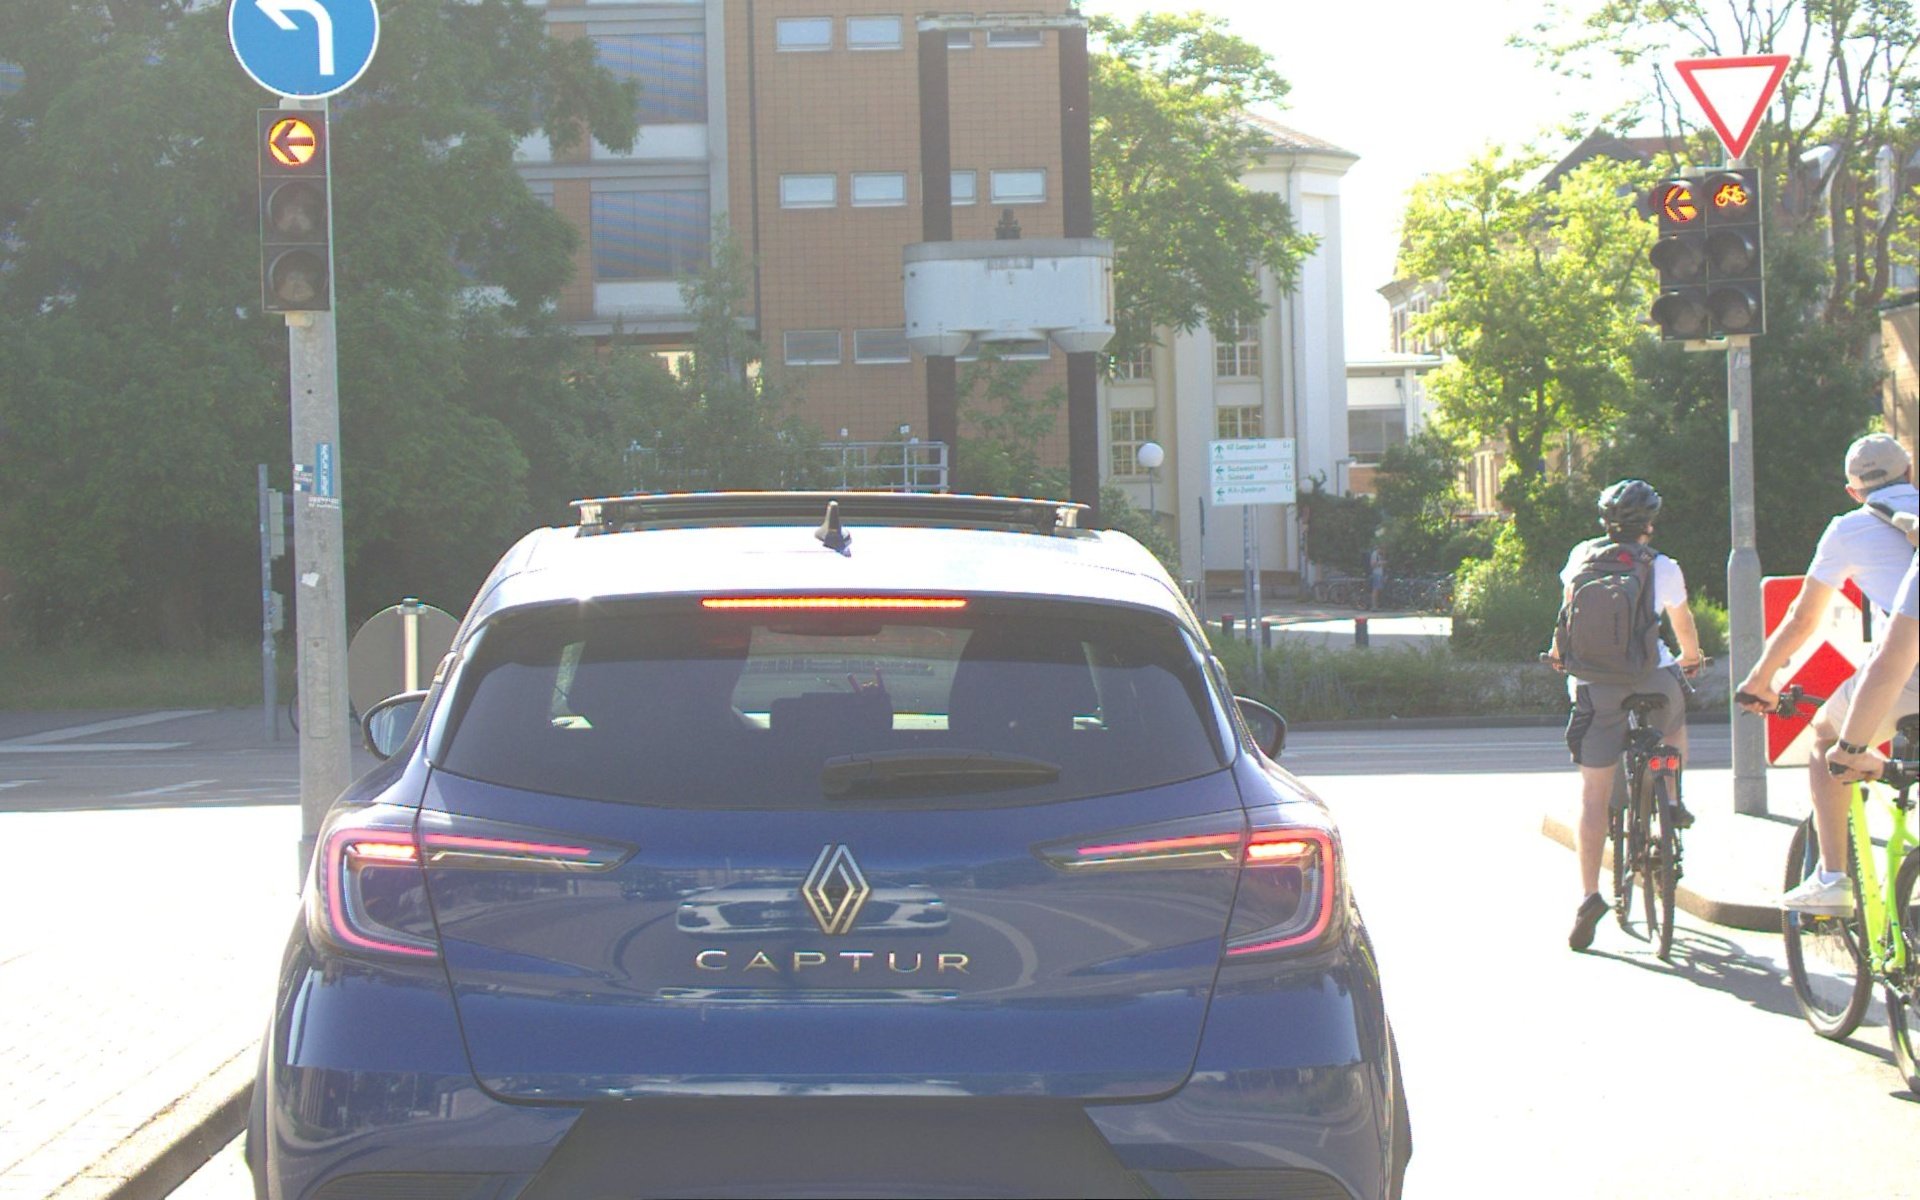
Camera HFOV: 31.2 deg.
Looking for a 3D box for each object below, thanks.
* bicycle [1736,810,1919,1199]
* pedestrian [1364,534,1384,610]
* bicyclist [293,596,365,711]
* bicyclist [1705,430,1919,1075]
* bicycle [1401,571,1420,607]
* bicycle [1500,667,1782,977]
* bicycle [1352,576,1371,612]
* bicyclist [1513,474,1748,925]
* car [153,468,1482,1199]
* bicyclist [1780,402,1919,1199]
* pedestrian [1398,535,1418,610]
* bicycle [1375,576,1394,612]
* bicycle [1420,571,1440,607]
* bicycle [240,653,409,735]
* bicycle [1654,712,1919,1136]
[{"bbox_3d":[2.226,0.963,7.249,0.740,0.893,1.978,1,1,1],"label":"bicycle"},{"bbox_3d":[10.973,-0.750,91.036,0.475,2.007,0.523,-1,1,6],"label":"pedestrian"},{"bbox_3d":[-8.038,0.677,43.779,0.737,1.436,0.598,-2,1,-27],"label":"bicyclist"},{"bbox_3d":[2.620,0.408,9.802,0.645,1.733,1.067,1,0,-6],"label":"bicyclist"},{"bbox_3d":[12.373,-0.303,94.396,0.405,0.969,1.683,1,1,4],"label":"bicycle"},{"bbox_3d":[2.508,0.783,12.893,0.739,0.992,2.173,1,1,3],"label":"bicycle"},{"bbox_3d":[10.983,-0.176,94.073,0.405,0.969,1.683,1,1,4],"label":"bicycle"},{"bbox_3d":[2.506,0.356,12.938,0.726,1.623,0.969,1,0,4],"label":"bicyclist"},{"bbox_3d":[-0.270,0.615,6.688,1.803,1.626,4.000,0,1,-2],"label":"car"},{"bbox_3d":[2.229,0.444,7.237,0.751,1.663,1.016,1,0,1],"label":"bicyclist"},{"bbox_3d":[12.030,-0.749,92.387,0.475,2.007,0.468,-1,1,6],"label":"pedestrian"},{"bbox_3d":[11.605,-0.167,94.030,0.405,0.969,1.683,1,1,4],"label":"bicycle"},{"bbox_3d":[12.909,-0.296,94.409,0.405,0.969,1.683,1,1,4],"label":"bicycle"},{"bbox_3d":[-8.085,1.190,43.761,2.005,0.961,0.598,-2,1,-27],"label":"bicycle"},{"bbox_3d":[2.610,0.867,9.813,0.659,0.999,1.970,1,1,-6],"label":"bicycle"}]
